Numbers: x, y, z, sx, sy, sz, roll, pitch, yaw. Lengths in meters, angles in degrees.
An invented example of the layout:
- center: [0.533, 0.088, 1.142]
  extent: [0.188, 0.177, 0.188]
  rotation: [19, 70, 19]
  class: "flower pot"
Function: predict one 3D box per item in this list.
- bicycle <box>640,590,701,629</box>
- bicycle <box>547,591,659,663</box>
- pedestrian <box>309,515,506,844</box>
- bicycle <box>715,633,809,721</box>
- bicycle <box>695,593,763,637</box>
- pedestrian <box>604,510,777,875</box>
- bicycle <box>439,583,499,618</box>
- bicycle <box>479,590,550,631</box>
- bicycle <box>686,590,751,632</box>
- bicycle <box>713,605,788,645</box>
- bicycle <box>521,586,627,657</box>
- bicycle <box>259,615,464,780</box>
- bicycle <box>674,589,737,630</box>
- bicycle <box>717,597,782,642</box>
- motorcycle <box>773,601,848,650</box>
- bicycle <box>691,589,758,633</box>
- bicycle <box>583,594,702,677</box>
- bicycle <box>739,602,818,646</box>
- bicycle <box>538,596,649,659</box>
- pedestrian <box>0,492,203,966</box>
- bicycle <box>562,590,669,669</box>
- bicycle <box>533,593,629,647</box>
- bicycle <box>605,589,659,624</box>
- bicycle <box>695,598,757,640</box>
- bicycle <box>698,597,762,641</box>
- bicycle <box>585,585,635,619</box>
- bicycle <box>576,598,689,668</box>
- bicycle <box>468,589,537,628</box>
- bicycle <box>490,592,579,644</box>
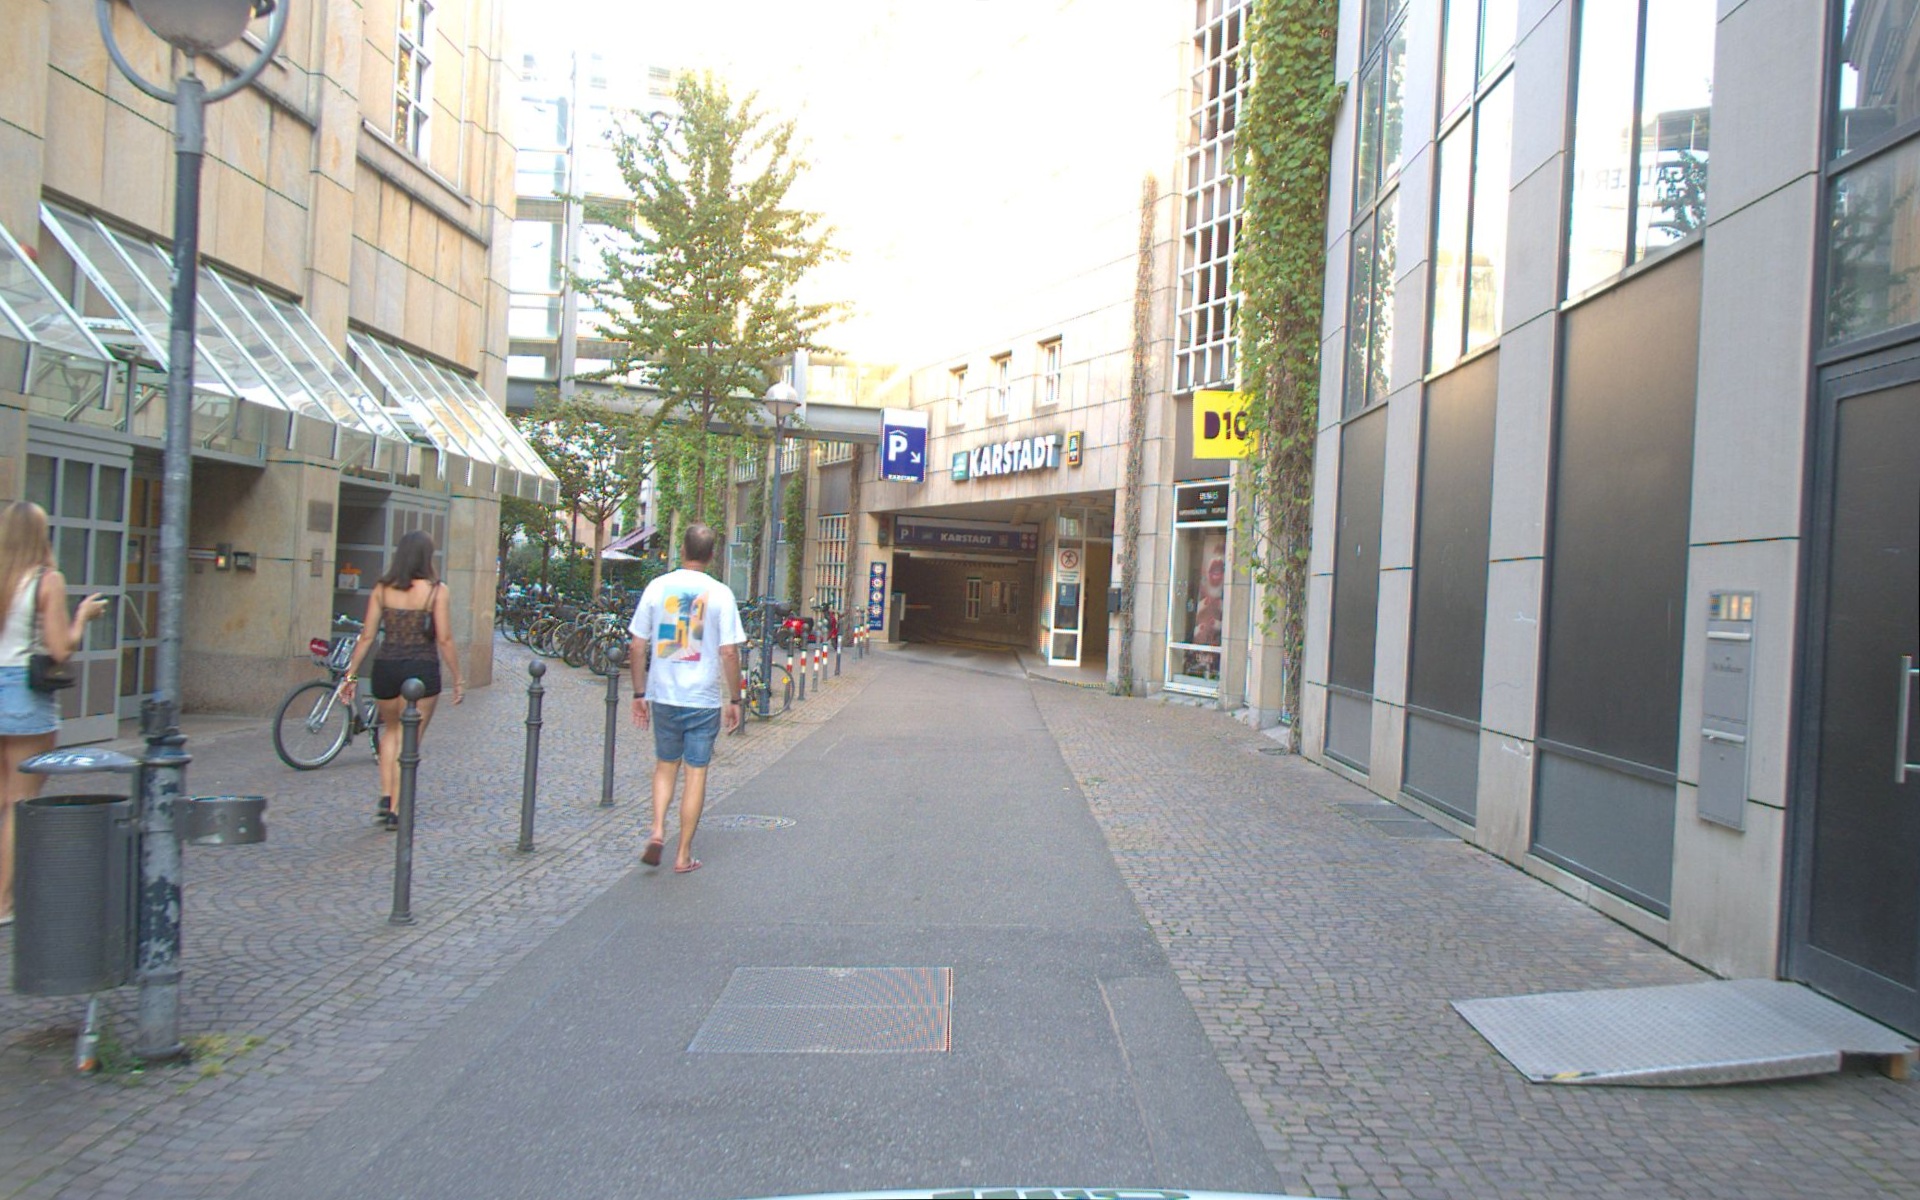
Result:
- center: [-8.878, 0.285, 50.715]
  extent: [1.747, 1.134, 0.539]
  rotation: [2, 0, -21]
  class: "bicycle"
- center: [-6.293, 0.479, 29.153]
  extent: [1.846, 1.198, 0.530]
  rotation: [2, 0, -23]
  class: "bicycle"
- center: [-3.252, 0.446, 9.821]
  extent: [0.769, 1.826, 0.972]
  rotation: [2, 0, 0]
  class: "pedestrian"
- center: [-2.334, 0.892, 19.658]
  extent: [0.482, 0.955, 1.660]
  rotation: [4, 0, 15]
  class: "bicycle"
- center: [-6.314, 0.418, 45.163]
  extent: [1.747, 1.134, 0.539]
  rotation: [2, 0, -21]
  class: "bicycle"
- center: [-1.438, 0.472, 8.959]
  extent: [0.727, 1.854, 0.878]
  rotation: [2, 0, 0]
  class: "pedestrian"
- center: [-16.527, 0.027, 55.725]
  extent: [1.878, 1.131, 0.478]
  rotation: [2, 0, -23]
  class: "bicycle"
- center: [-11.965, 0.291, 44.428]
  extent: [1.755, 1.037, 0.478]
  rotation: [2, 0, -23]
  class: "bicycle"
- center: [-6.925, 0.320, 47.436]
  extent: [1.747, 1.134, 0.539]
  rotation: [2, 0, -21]
  class: "bicycle"
- center: [-5.157, 0.609, 40.670]
  extent: [1.747, 0.919, 0.461]
  rotation: [2, 0, -21]
  class: "bicycle"
- center: [-7.073, 0.389, 30.354]
  extent: [1.808, 1.246, 0.530]
  rotation: [2, 0, -23]
  class: "bicycle"
- center: [-4.573, 0.708, 12.777]
  extent: [0.510, 1.157, 1.765]
  rotation: [2, 0, 16]
  class: "bicycle"
- center: [-7.459, 0.279, 48.465]
  extent: [1.747, 1.134, 0.539]
  rotation: [2, 0, -21]
  class: "bicycle"
- center: [-5.297, 0.499, 41.619]
  extent: [1.517, 1.067, 0.572]
  rotation: [2, 0, -21]
  class: "bicycle"
- center: [-3.448, 0.585, 38.192]
  extent: [1.638, 1.069, 0.461]
  rotation: [2, 0, -21]
  class: "motorcycle"
- center: [-6.569, 0.307, 46.235]
  extent: [1.747, 1.134, 0.539]
  rotation: [2, 0, -21]
  class: "bicycle"
- center: [-4.990, 0.559, 26.034]
  extent: [1.742, 1.252, 0.530]
  rotation: [2, 0, -23]
  class: "bicycle"
- center: [-4.373, 0.583, 39.822]
  extent: [1.821, 0.999, 0.461]
  rotation: [2, 0, -21]
  class: "bicycle"
- center: [-6.568, 0.499, 29.682]
  extent: [1.868, 1.070, 0.530]
  rotation: [2, 0, -23]
  class: "bicycle"
- center: [-3.700, 0.470, 6.669]
  extent: [0.790, 1.759, 0.948]
  rotation: [3, 0, -1]
  class: "pedestrian"
- center: [-5.690, 0.486, 27.310]
  extent: [1.631, 1.252, 0.530]
  rotation: [2, 0, -23]
  class: "bicycle"
- center: [-7.817, 0.422, 34.135]
  extent: [1.851, 1.061, 0.530]
  rotation: [2, 0, -23]
  class: "bicycle"
- center: [-11.199, 0.209, 56.481]
  extent: [1.746, 1.134, 0.540]
  rotation: [2, 0, -18]
  class: "bicycle"
- center: [-6.219, 0.498, 43.989]
  extent: [1.517, 1.067, 0.572]
  rotation: [2, 0, -21]
  class: "bicycle"
- center: [-5.917, 0.493, 42.594]
  extent: [1.517, 1.067, 0.572]
  rotation: [2, 0, -21]
  class: "bicycle"
- center: [-13.045, 0.068, 61.665]
  extent: [1.747, 1.211, 0.583]
  rotation: [2, 0, -21]
  class: "bicycle"
- center: [-5.580, 0.570, 28.202]
  extent: [1.811, 1.142, 0.530]
  rotation: [2, 0, -23]
  class: "bicycle"
- center: [-12.528, 0.234, 45.263]
  extent: [1.755, 1.037, 0.478]
  rotation: [2, 0, -23]
  class: "bicycle"
- center: [-9.234, 0.391, 35.887]
  extent: [1.799, 1.061, 0.530]
  rotation: [2, 0, -23]
  class: "bicycle"
